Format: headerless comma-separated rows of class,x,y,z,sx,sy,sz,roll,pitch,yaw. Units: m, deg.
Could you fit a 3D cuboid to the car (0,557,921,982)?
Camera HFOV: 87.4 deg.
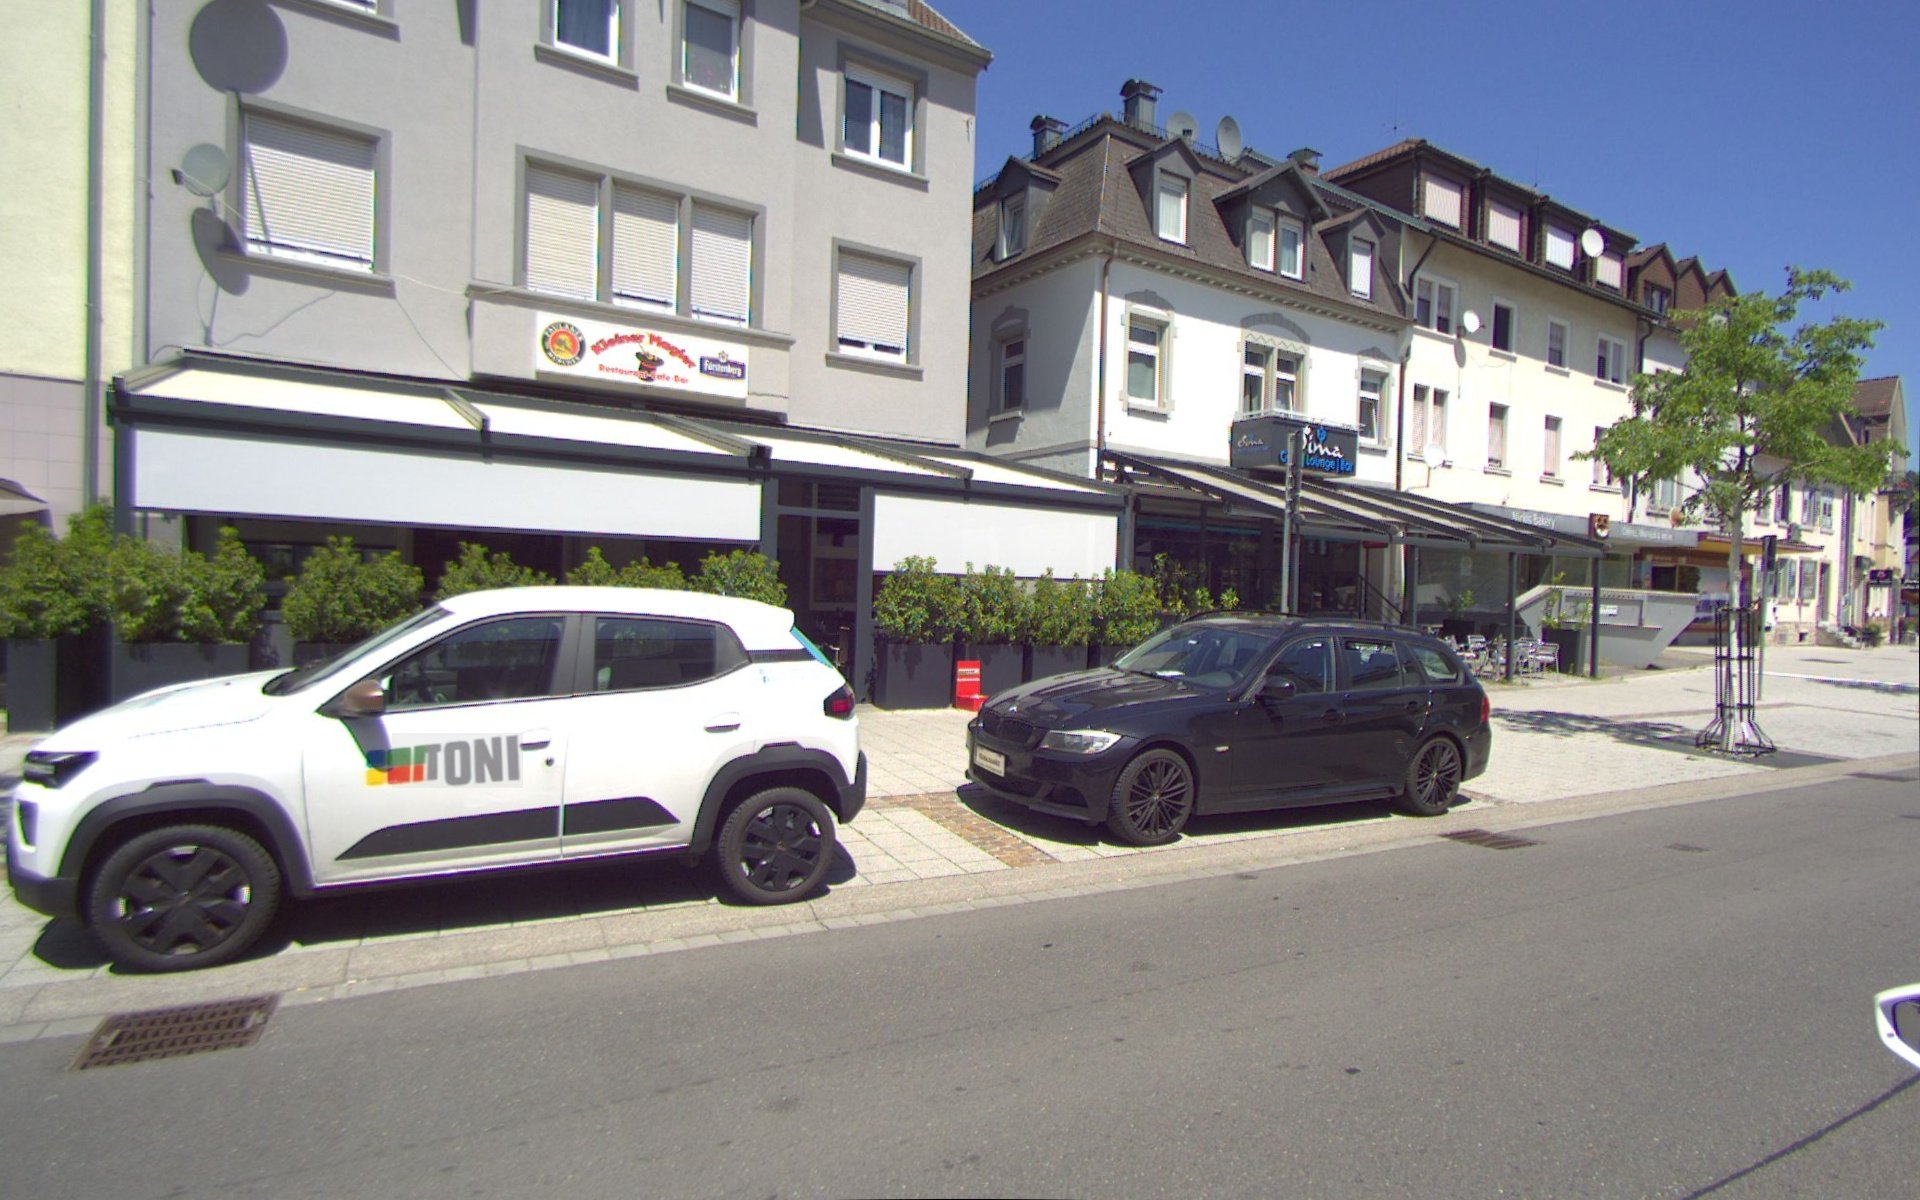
car,-2.259,0.639,5.129,3.719,1.504,1.675,2,2,-26

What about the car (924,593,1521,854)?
car,2.097,0.789,7.744,4.394,1.465,1.746,2,2,-28
